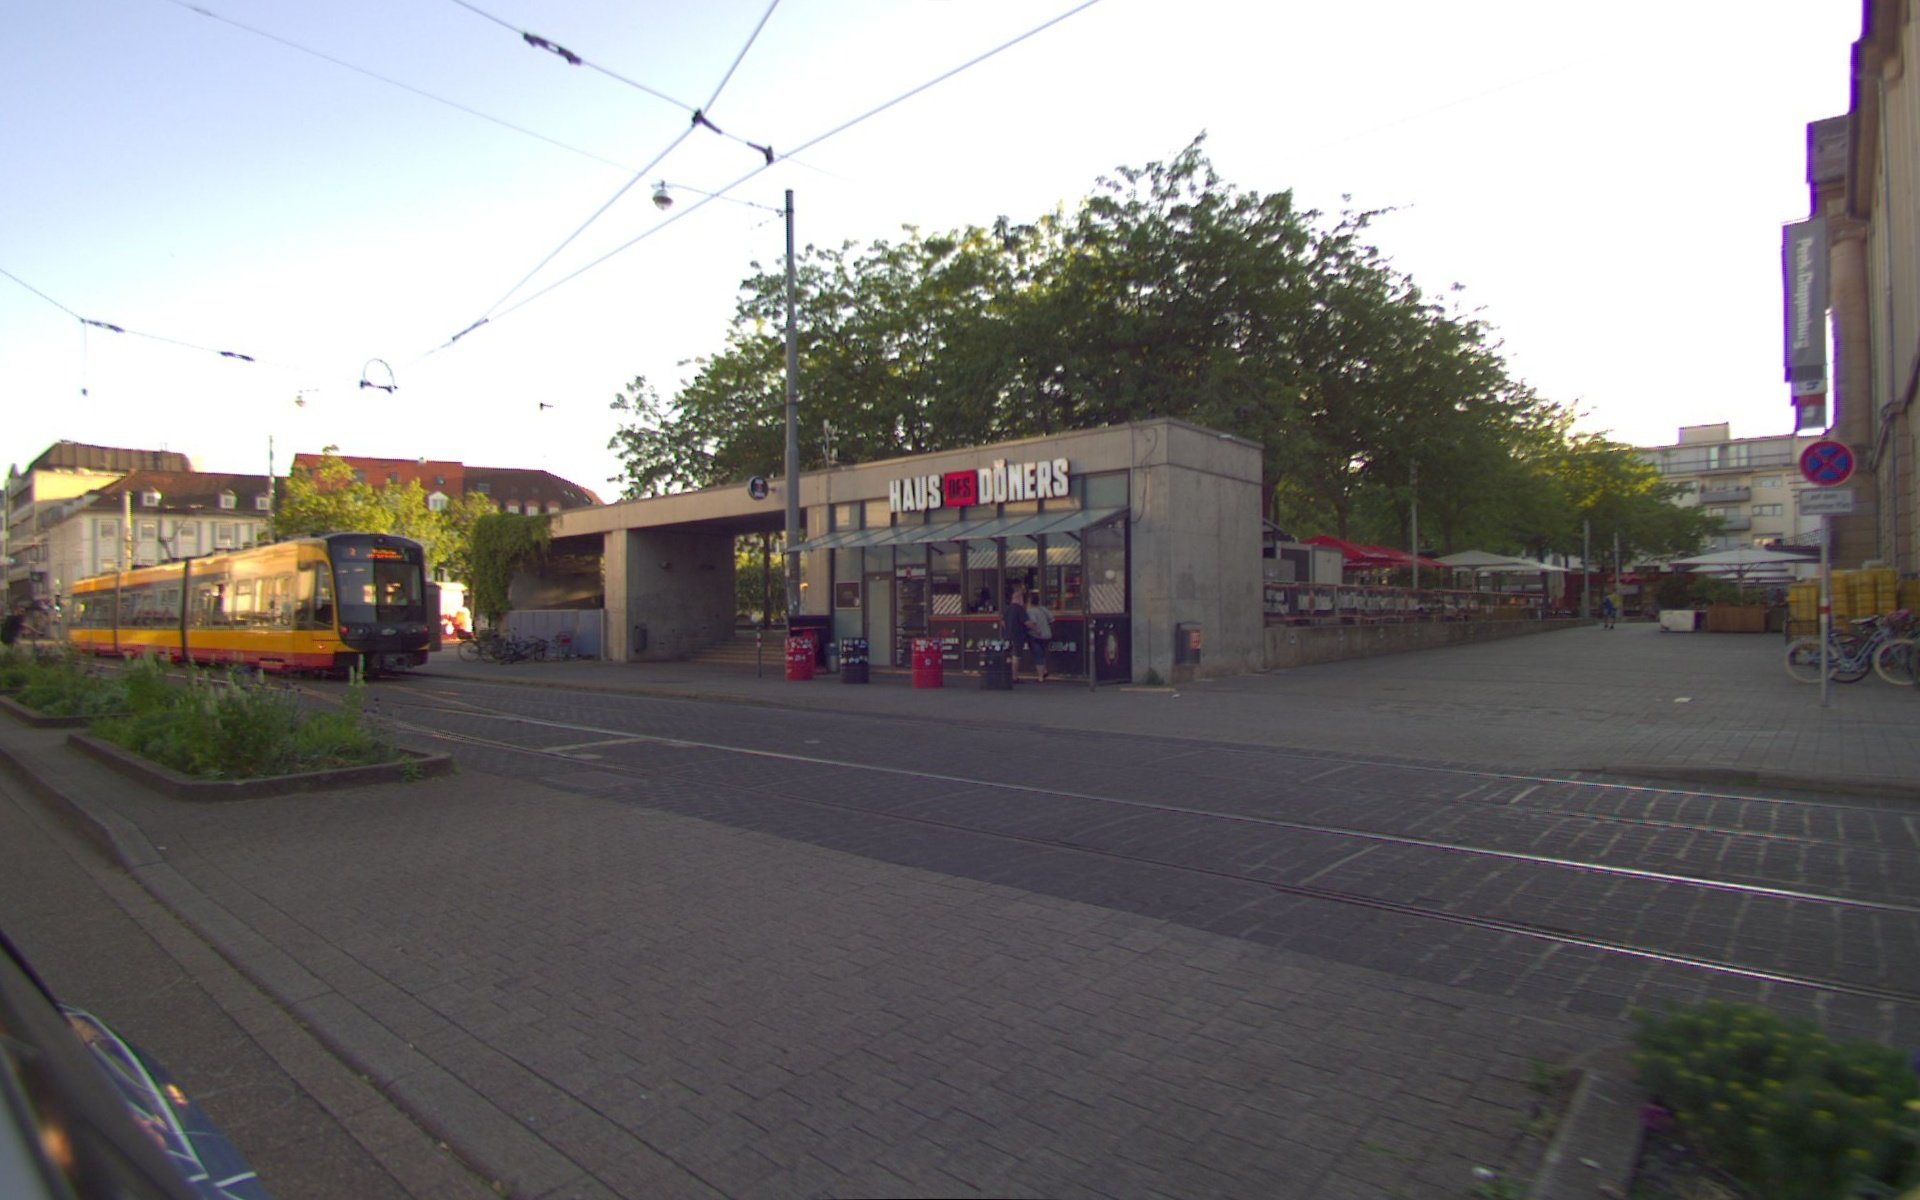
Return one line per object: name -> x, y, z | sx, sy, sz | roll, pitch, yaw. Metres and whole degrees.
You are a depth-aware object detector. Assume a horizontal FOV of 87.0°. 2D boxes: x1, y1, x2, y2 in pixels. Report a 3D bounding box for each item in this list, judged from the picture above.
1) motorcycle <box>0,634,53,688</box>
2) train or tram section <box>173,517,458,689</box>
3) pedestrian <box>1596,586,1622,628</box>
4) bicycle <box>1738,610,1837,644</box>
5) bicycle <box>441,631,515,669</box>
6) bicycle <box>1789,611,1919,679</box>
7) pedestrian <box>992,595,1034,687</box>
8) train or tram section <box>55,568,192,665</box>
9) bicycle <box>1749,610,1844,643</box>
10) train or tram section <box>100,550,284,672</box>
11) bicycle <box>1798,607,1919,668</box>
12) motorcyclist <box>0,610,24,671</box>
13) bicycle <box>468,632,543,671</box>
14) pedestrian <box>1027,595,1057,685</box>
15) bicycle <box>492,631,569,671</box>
motorcycle -> -23.397, 1.494, 24.654 | 0.799, 1.247, 1.770 | -1, 0, 17
train or tram section -> -17.923, 0.228, 27.382 | 13.474, 3.714, 2.865 | -2, -1, 41
pedestrian -> 26.868, 0.305, 41.894 | 0.799, 1.714, 0.789 | -1, 0, 40
bicycle -> 24.038, 0.785, 29.443 | 2.192, 0.950, 0.531 | -2, -1, 41
bicycle -> -16.042, 1.652, 33.727 | 0.692, 1.168, 2.103 | -2, -1, 42
bicycle -> 14.201, 0.698, 15.868 | 1.839, 1.020, 0.478 | -2, -1, 40
pedestrian -> 0.996, 0.754, 18.899 | 0.551, 1.665, 0.556 | -1, 0, 35
train or tram section -> -36.037, 0.748, 43.411 | 10.779, 3.714, 2.865 | -2, -1, 41
bicycle -> 25.373, 0.808, 30.722 | 2.192, 0.950, 0.531 | -2, -1, 41
train or tram section -> -27.476, 0.487, 35.850 | 11.977, 3.714, 2.865 | -2, -1, 41
bicycle -> 16.000, 0.659, 17.848 | 1.839, 1.020, 0.478 | -2, -1, 40
motorcyclist -> -23.435, 0.992, 24.530 | 0.793, 1.450, 0.796 | -1, 0, 16
bicycle -> -14.654, 1.630, 32.678 | 0.692, 1.168, 2.103 | -2, -1, 42
pedestrian -> 1.554, 0.742, 19.134 | 0.400, 1.665, 0.389 | -1, 0, 35
bicycle -> -13.408, 1.574, 31.644 | 0.692, 1.168, 2.103 | -2, -1, 42
